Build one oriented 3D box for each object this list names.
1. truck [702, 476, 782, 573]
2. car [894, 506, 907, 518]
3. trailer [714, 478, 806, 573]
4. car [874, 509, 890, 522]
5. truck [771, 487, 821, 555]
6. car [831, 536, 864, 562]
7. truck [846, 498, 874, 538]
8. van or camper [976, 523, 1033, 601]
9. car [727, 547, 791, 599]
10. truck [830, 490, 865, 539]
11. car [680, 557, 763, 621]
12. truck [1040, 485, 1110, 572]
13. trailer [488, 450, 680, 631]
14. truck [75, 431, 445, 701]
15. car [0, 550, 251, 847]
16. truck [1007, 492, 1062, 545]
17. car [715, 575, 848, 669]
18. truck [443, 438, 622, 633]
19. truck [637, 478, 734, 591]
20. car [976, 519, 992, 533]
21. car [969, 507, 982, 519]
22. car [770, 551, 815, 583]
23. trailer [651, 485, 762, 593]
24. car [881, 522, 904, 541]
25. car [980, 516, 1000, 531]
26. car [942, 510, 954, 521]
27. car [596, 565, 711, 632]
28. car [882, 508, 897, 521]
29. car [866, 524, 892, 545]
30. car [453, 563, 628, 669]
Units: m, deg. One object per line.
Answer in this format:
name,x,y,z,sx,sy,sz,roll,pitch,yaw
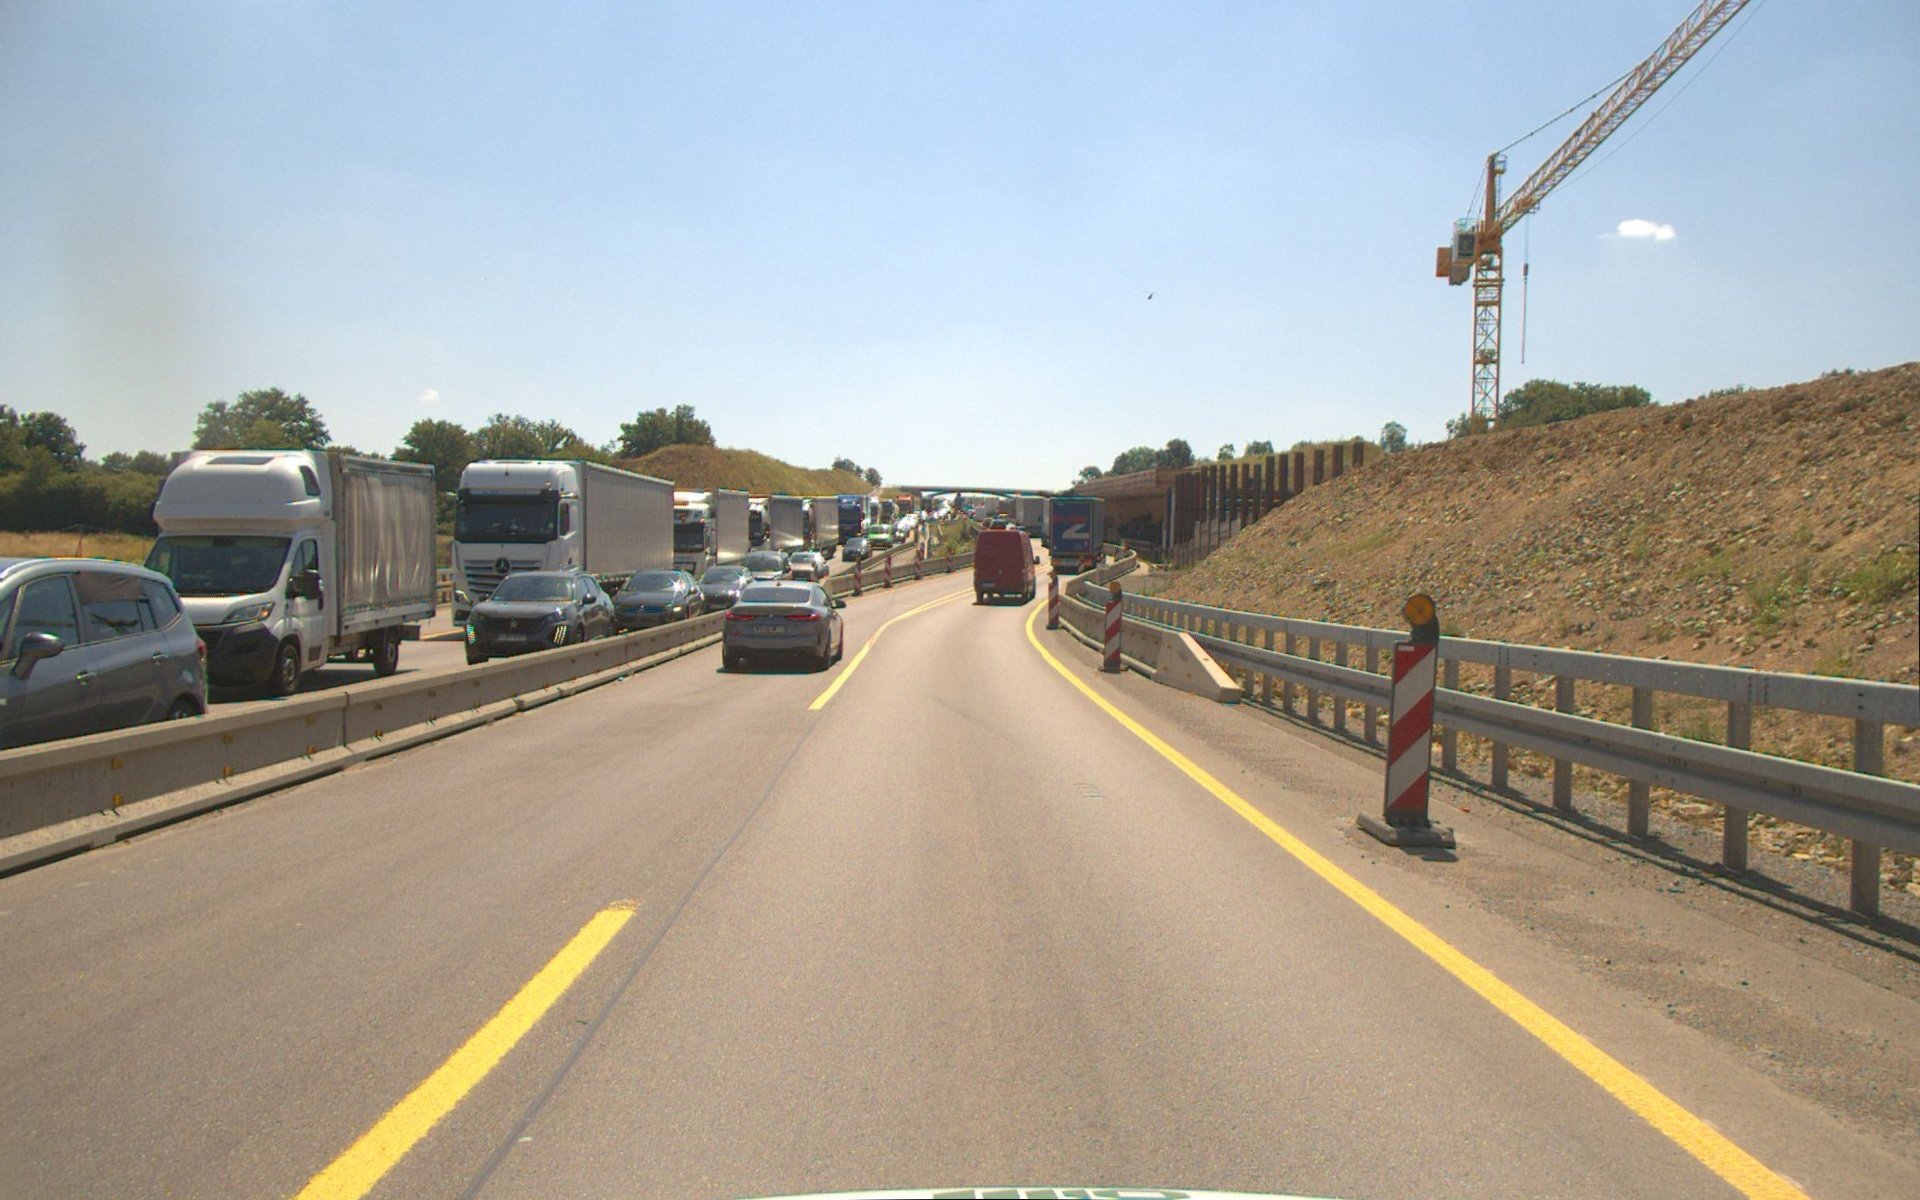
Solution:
truck,-10.584,-3.632,80.918,2.989,4.558,5.981,0,1,1
car,-8.831,-12.980,244.773,1.913,1.556,4.266,0,1,-1
trailer,-10.378,-3.741,87.194,2.979,4.631,12.131,0,1,2
car,-10.258,-11.126,217.145,1.913,1.556,4.266,0,1,-1
truck,-10.054,-4.818,101.956,2.629,3.906,7.383,0,1,-3
car,-7.325,-3.325,108.427,1.913,1.556,4.267,0,1,-1
truck,-10.634,-8.724,176.199,2.830,3.906,7.998,0,1,-3
van or camper,1.724,-1.415,62.375,1.986,2.792,4.518,1,1,3
car,-7.266,-0.984,60.058,1.953,1.814,3.999,0,1,-2
truck,-9.769,-7.374,143.985,2.830,3.906,7.998,0,1,-3
car,-6.972,-0.339,48.718,1.953,1.814,3.999,0,1,-2
truck,6.719,-4.053,95.891,2.956,4.774,6.939,-1,1,12
trailer,-10.082,-1.511,45.967,2.542,4.331,12.467,0,1,0
truck,-9.424,-0.485,23.208,2.385,3.203,7.021,0,1,-2
car,-6.353,0.519,10.408,1.790,1.679,4.546,3,0,-1
truck,7.921,-8.686,178.425,5.055,5.084,13.875,-2,1,0
car,-3.001,0.358,28.646,1.814,1.477,4.741,1,0,-1
truck,-10.085,-1.445,39.718,2.498,4.305,6.531,0,0,1
truck,-10.230,-2.367,62.151,2.725,3.937,5.460,0,-1,0
car,3.075,-9.612,214.717,1.913,1.557,4.266,0,0,-1
car,2.401,-13.548,257.355,1.913,1.669,4.267,0,1,-1
car,-7.707,-1.487,76.307,1.711,1.433,4.000,0,1,-1
trailer,-10.206,-2.309,67.738,2.726,4.000,11.008,0,0,0
car,-5.983,-6.074,146.911,1.913,1.556,4.267,0,1,-1
car,3.414,-8.665,187.225,2.241,1.557,4.358,-1,0,1
car,-1.880,-13.039,256.372,1.913,1.556,4.267,0,1,-1
car,-7.120,-0.070,38.822,1.864,1.400,4.546,-2,1,-1
car,-9.566,-11.548,223.749,1.913,1.556,4.266,0,1,-1
car,-6.330,-5.128,129.937,1.913,1.556,4.267,0,1,-1
car,-6.903,0.203,27.696,1.790,1.562,4.546,-2,1,-1
